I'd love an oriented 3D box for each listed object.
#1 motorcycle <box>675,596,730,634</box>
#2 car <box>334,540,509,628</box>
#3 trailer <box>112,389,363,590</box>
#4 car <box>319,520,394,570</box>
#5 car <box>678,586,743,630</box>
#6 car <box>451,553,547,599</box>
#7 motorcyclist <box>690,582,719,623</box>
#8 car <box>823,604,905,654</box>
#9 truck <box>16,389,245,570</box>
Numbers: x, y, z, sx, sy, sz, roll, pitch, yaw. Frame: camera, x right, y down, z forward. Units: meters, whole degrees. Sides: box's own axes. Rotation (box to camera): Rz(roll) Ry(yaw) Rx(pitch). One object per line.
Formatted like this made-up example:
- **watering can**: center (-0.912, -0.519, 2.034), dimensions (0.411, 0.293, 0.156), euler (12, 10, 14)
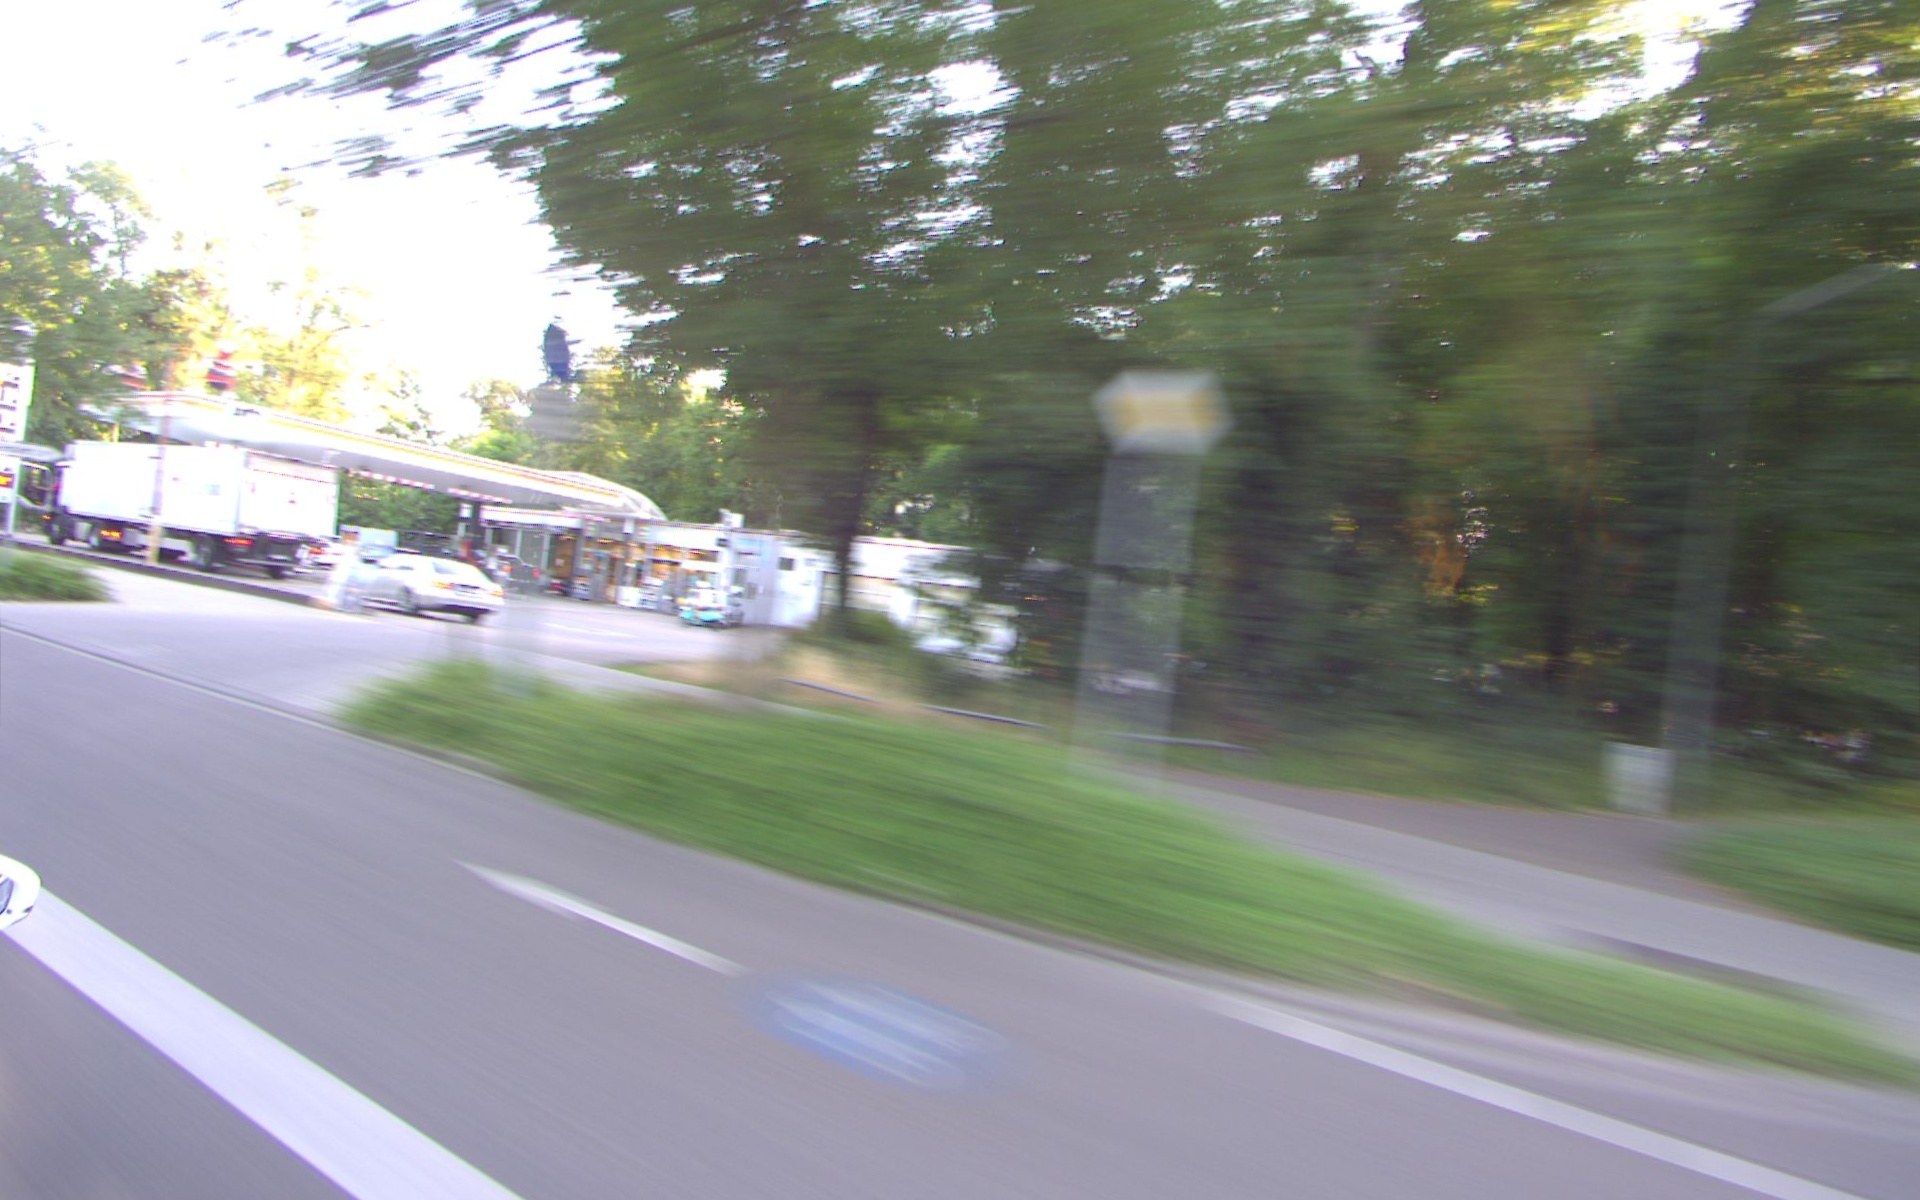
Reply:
- **motorcycle**: center (-9.610, 0.562, 37.513), dimensions (1.829, 1.194, 0.624), euler (7, 0, 21)
- **car**: center (-13.501, -0.426, 25.135), dimensions (4.743, 1.601, 1.772), euler (6, -2, 35)
- **trailer**: center (-23.264, -3.586, 32.297), dimensions (7.797, 5.528, 3.027), euler (7, 0, 29)
- **car**: center (-34.722, -3.185, 57.843), dimensions (4.549, 2.374, 1.772), euler (6, -2, 35)
- **car**: center (-10.046, 0.310, 40.817), dimensions (1.642, 1.541, 4.129), euler (6, 0, -3)
- **car**: center (-22.048, -1.173, 48.051), dimensions (4.549, 1.601, 1.991), euler (6, -2, 35)
- **motorcyclist**: center (-9.523, 0.104, 37.500), dimensions (0.684, 1.452, 0.611), euler (6, 0, 21)
- **car**: center (-3.403, 1.021, 36.389), dimensions (1.641, 1.541, 4.133), euler (6, 0, 12)
- **truck**: center (-29.630, -4.358, 35.836), dimensions (8.265, 5.521, 3.039), euler (7, 0, 29)
